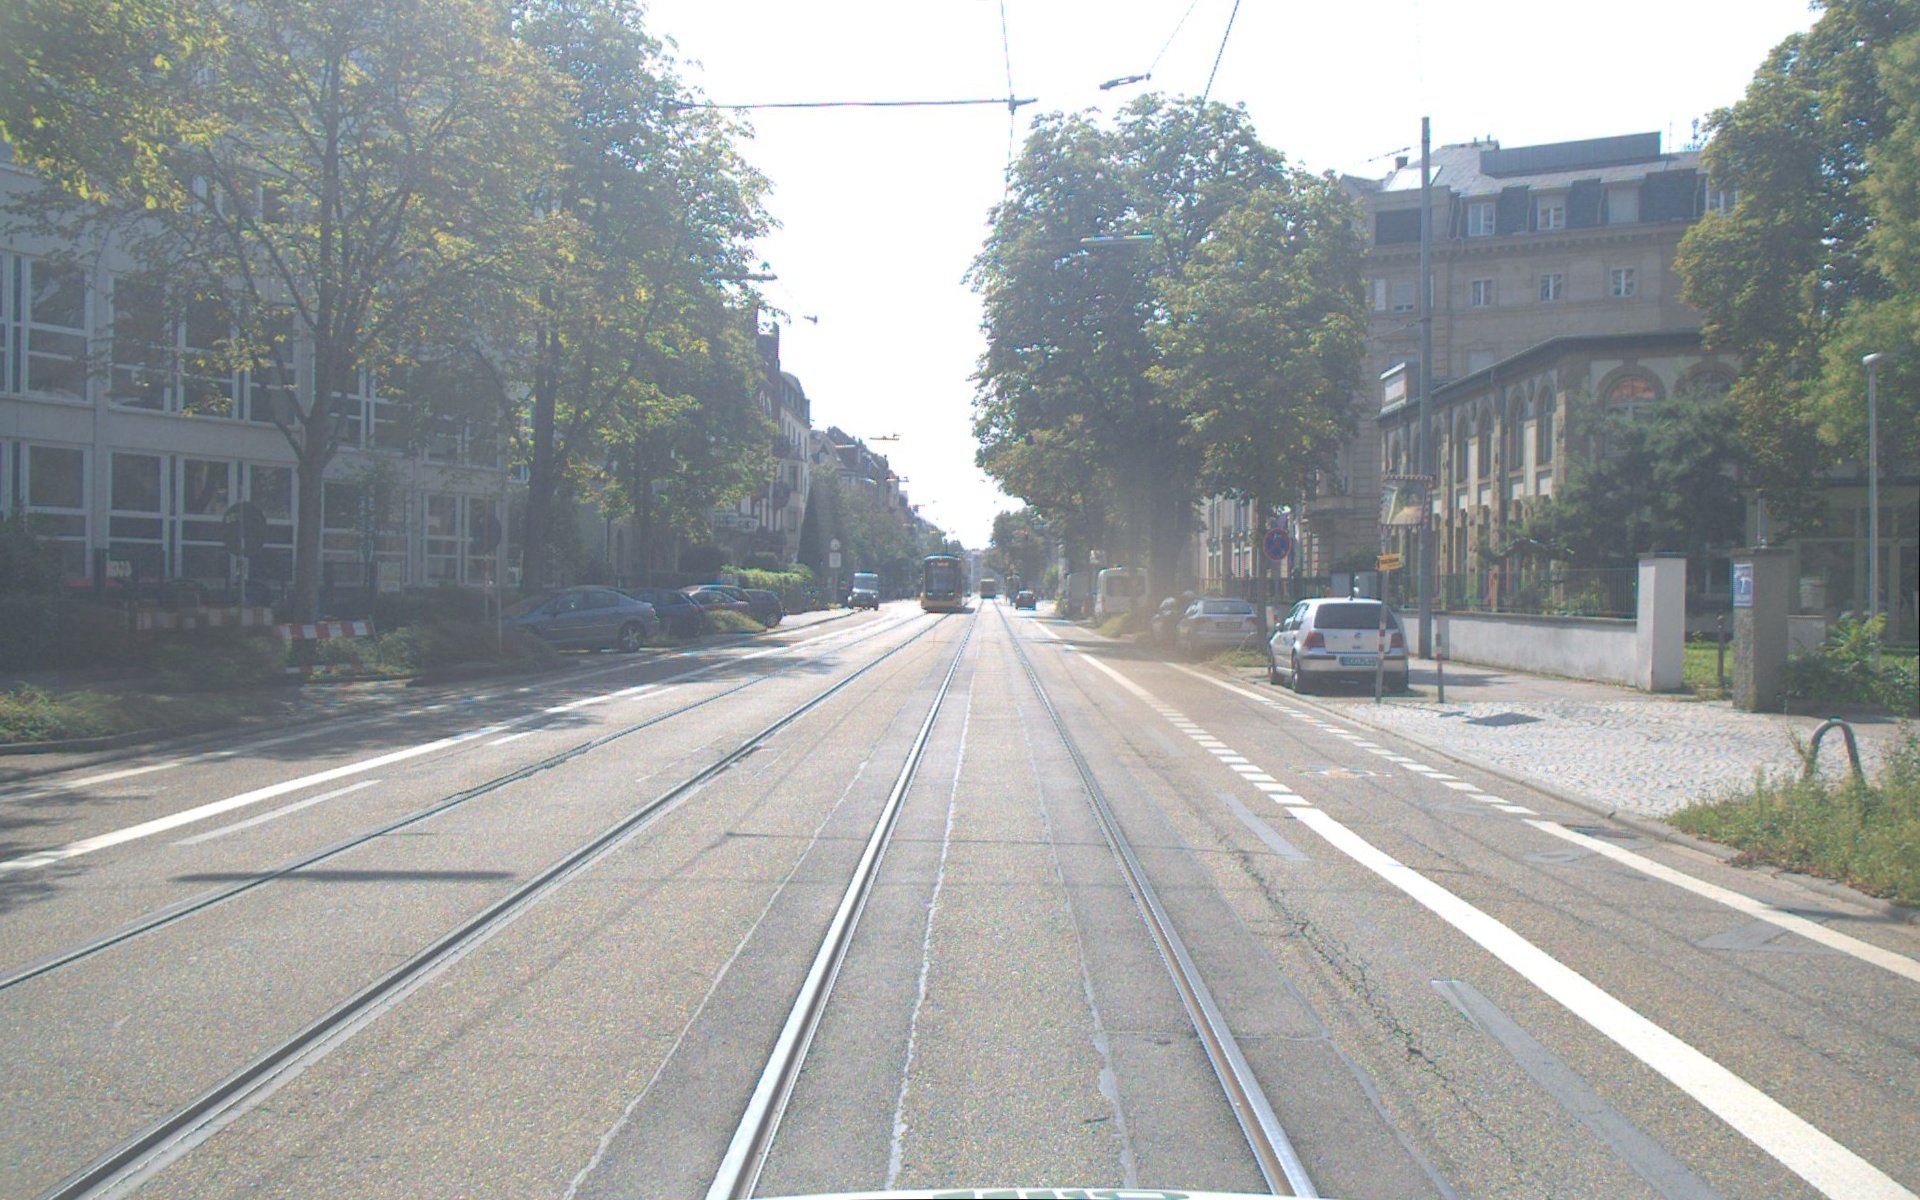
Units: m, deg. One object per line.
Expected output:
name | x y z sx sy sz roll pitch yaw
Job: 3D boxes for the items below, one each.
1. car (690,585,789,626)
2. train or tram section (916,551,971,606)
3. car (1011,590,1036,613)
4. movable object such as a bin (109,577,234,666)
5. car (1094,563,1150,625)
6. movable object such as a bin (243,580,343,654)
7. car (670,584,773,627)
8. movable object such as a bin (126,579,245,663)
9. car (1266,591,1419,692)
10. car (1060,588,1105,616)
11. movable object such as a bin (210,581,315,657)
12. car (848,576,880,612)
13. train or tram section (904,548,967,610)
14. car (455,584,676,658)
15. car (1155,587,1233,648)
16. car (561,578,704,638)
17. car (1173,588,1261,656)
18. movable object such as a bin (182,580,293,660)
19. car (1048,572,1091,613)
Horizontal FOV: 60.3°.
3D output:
car | -8.731 0.221 65.615 3.554 1.602 1.652 1 0 -41
train or tram section | -1.104 -1.562 119.778 3.424 3.769 12.416 1 1 2
car | 5.122 0.128 134.483 1.952 1.832 4.001 1 0 1
movable object such as a bin | -14.450 0.385 30.371 1.648 1.586 1.354 0 0 0
car | 6.597 -0.241 67.556 1.952 2.407 4.001 1 0 1
movable object such as a bin | -14.690 0.367 36.490 1.648 1.586 1.354 0 0 0
car | -9.015 0.218 62.582 3.554 1.602 1.652 1 0 -41
movable object such as a bin | -14.869 0.395 31.811 1.648 1.586 1.354 0 0 0
car | 5.989 0.608 26.291 1.754 1.471 3.734 -1 0 3
car | 6.461 0.070 87.490 1.953 1.422 3.999 0 0 -2
movable object such as a bin | -14.735 0.387 35.013 1.648 1.586 1.354 0 0 0
car | -6.792 -0.450 117.561 2.197 2.484 3.998 1 0 -2
train or tram section | -1.489 -1.359 107.355 3.424 3.769 12.416 1 1 2
car | -8.717 0.415 36.878 1.648 1.477 4.657 1 2 44
car | 6.462 0.441 45.985 1.757 1.604 4.002 1 0 3
car | -9.104 0.222 46.104 3.554 1.602 1.652 1 0 -41
car | 6.142 0.512 39.851 1.607 1.538 3.641 1 0 1
movable object such as a bin | -14.586 0.387 33.456 1.648 1.586 1.354 0 0 0
car | 6.236 -0.448 94.889 1.954 2.272 3.997 0 0 -4
